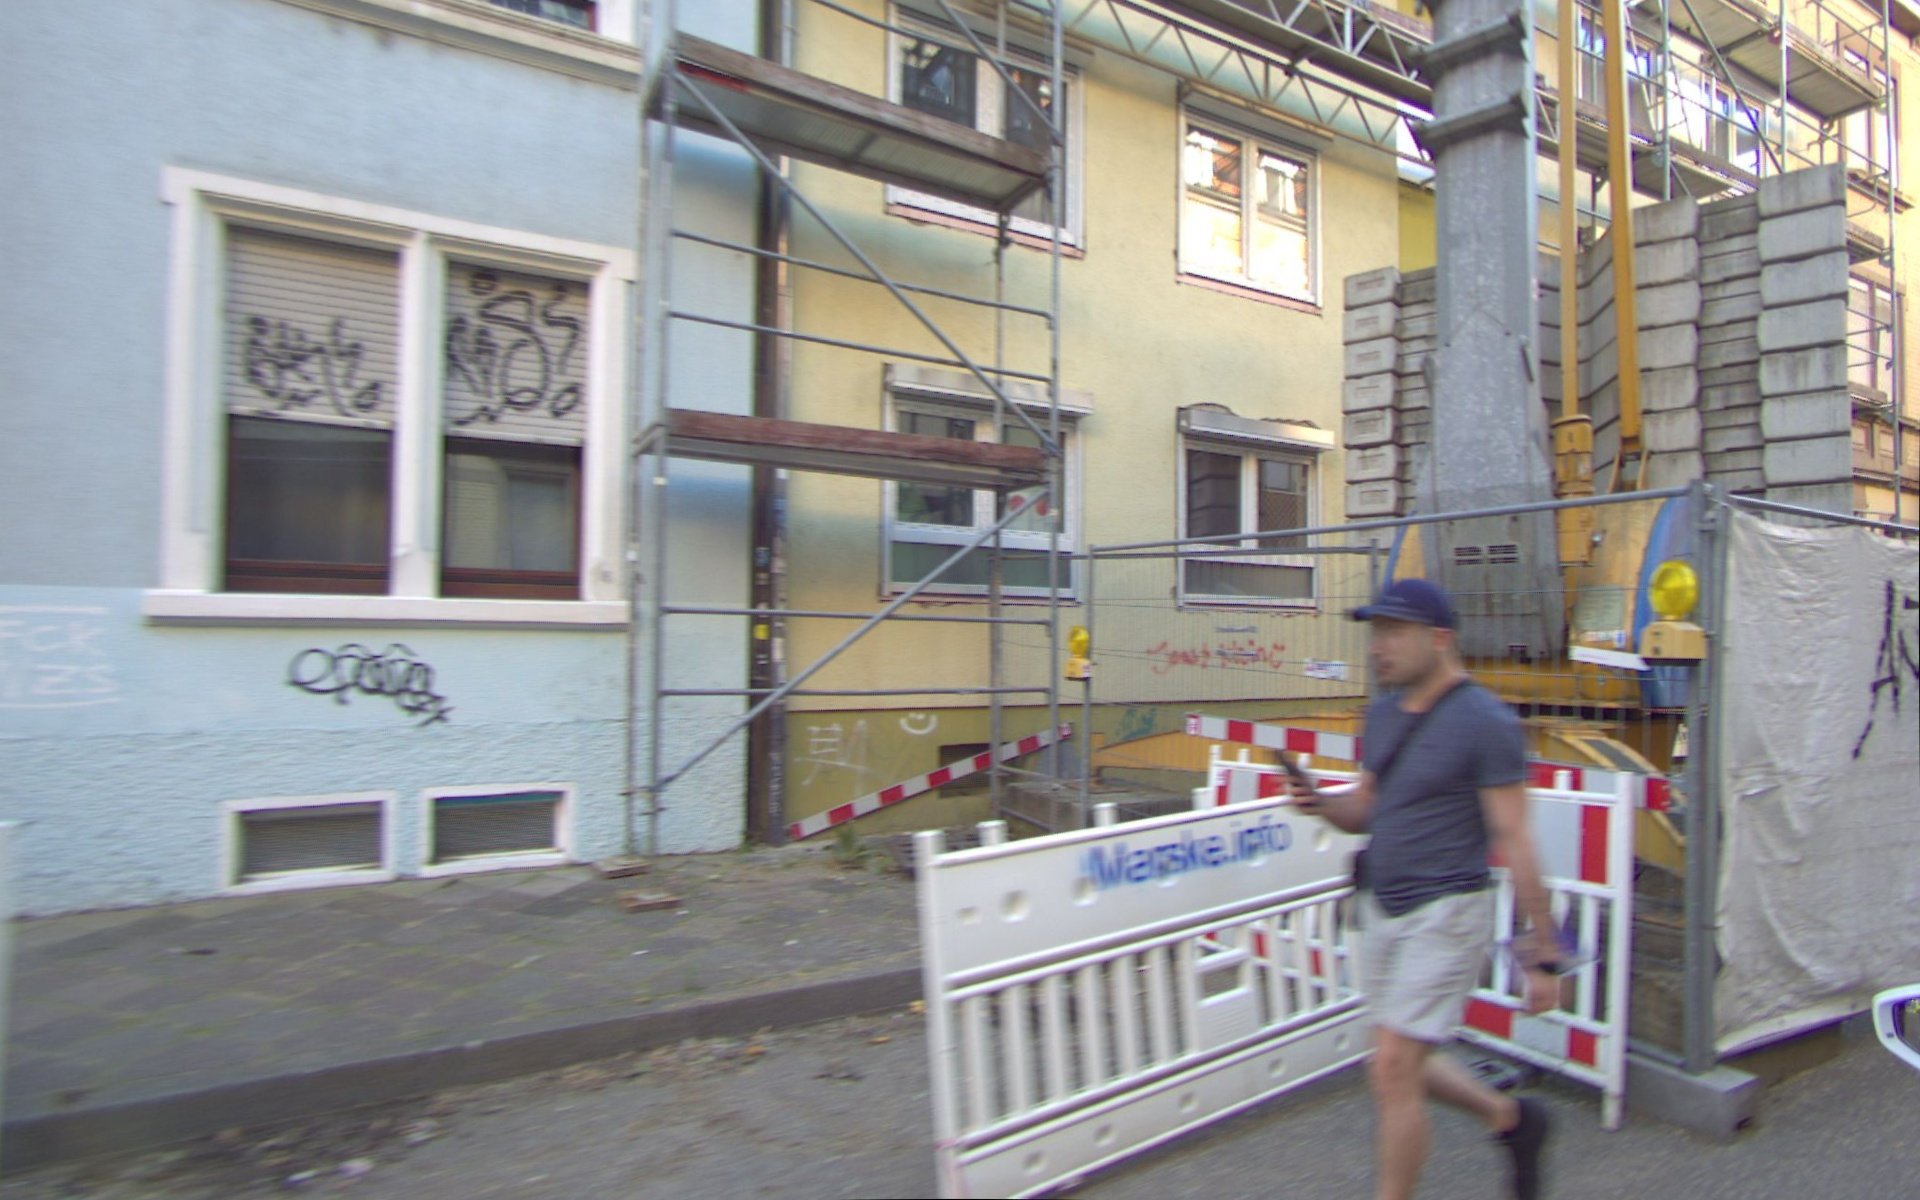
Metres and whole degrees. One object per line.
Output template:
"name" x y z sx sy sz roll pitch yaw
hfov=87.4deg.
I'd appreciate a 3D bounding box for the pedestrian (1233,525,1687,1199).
"pedestrian" 1.177 0.712 2.410 0.803 1.665 0.590 2 -4 -29
